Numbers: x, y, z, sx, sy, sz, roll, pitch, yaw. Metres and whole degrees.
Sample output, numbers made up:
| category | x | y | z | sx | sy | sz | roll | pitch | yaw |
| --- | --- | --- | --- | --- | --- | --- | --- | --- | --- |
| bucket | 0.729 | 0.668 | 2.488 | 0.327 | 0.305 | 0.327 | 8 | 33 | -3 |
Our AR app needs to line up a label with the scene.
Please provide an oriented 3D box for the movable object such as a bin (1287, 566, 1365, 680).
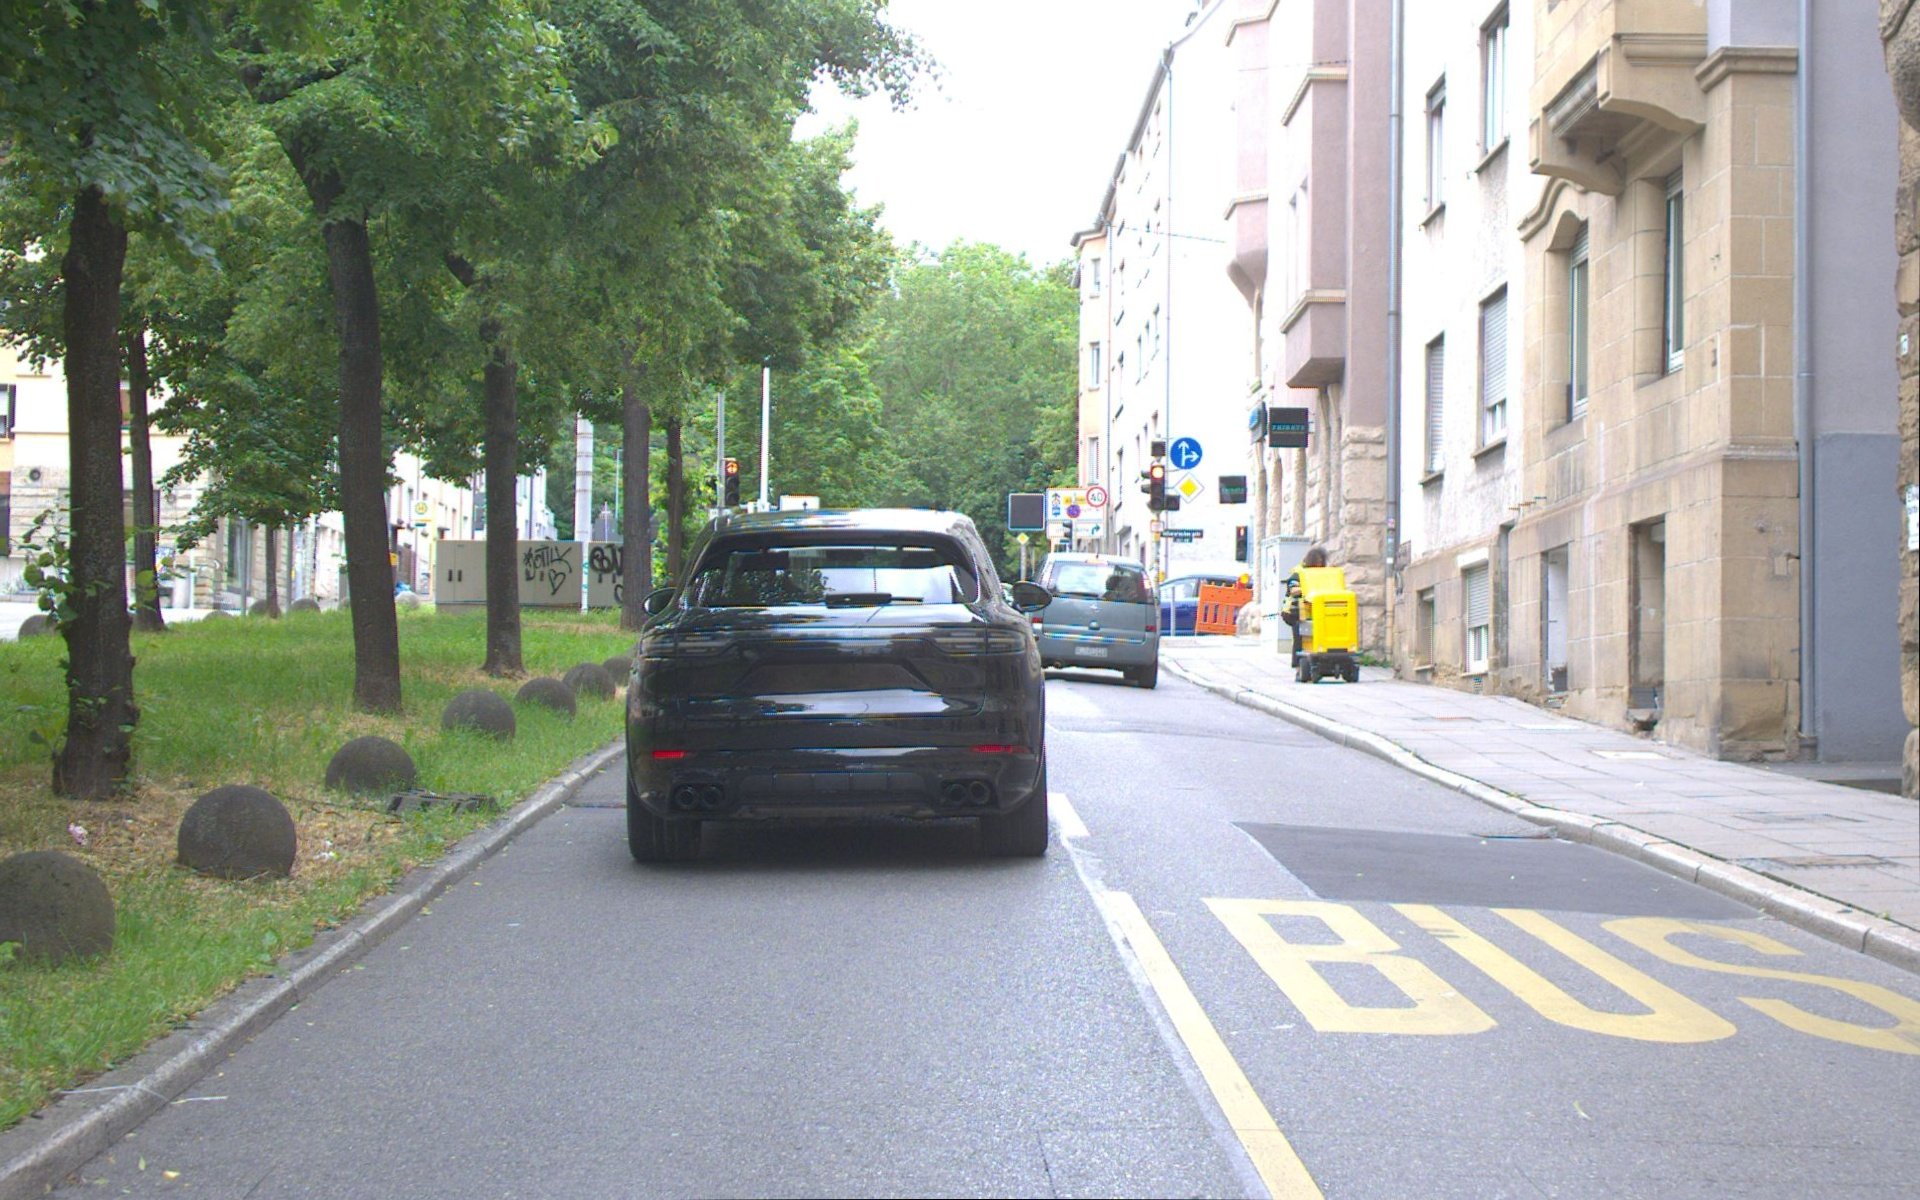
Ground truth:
| category | x | y | z | sx | sy | sz | roll | pitch | yaw |
| --- | --- | --- | --- | --- | --- | --- | --- | --- | --- |
| movable object such as a bin | 4.618 | 0.288 | 43.442 | 0.719 | 1.416 | 1.693 | 0 | 0 | -3 |

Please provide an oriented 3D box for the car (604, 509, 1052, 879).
| category | x | y | z | sx | sy | sz | roll | pitch | yaw |
| --- | --- | --- | --- | --- | --- | --- | --- | --- | --- |
| car | -0.589 | 0.382 | 17.314 | 1.994 | 1.647 | 4.000 | 0 | 1 | 0 |

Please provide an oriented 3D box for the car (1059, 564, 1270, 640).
| category | x | y | z | sx | sy | sz | roll | pitch | yaw |
| --- | --- | --- | --- | --- | --- | --- | --- | --- | --- |
| car | 4.406 | 0.025 | 73.824 | 4.208 | 1.505 | 1.799 | 2 | 1 | 16 |

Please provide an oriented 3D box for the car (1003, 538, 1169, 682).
| category | x | y | z | sx | sy | sz | roll | pitch | yaw |
| --- | --- | --- | --- | --- | --- | --- | --- | --- | --- |
| car | 1.548 | 0.106 | 43.440 | 1.752 | 1.588 | 3.630 | 5 | 0 | -1 |

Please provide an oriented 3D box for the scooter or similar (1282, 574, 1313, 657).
| category | x | y | z | sx | sy | sz | roll | pitch | yaw |
| --- | --- | --- | --- | --- | --- | --- | --- | --- | --- |
| scooter or similar | 5.012 | 0.223 | 51.104 | 0.401 | 1.184 | 1.354 | 0 | 2 | 3 |
